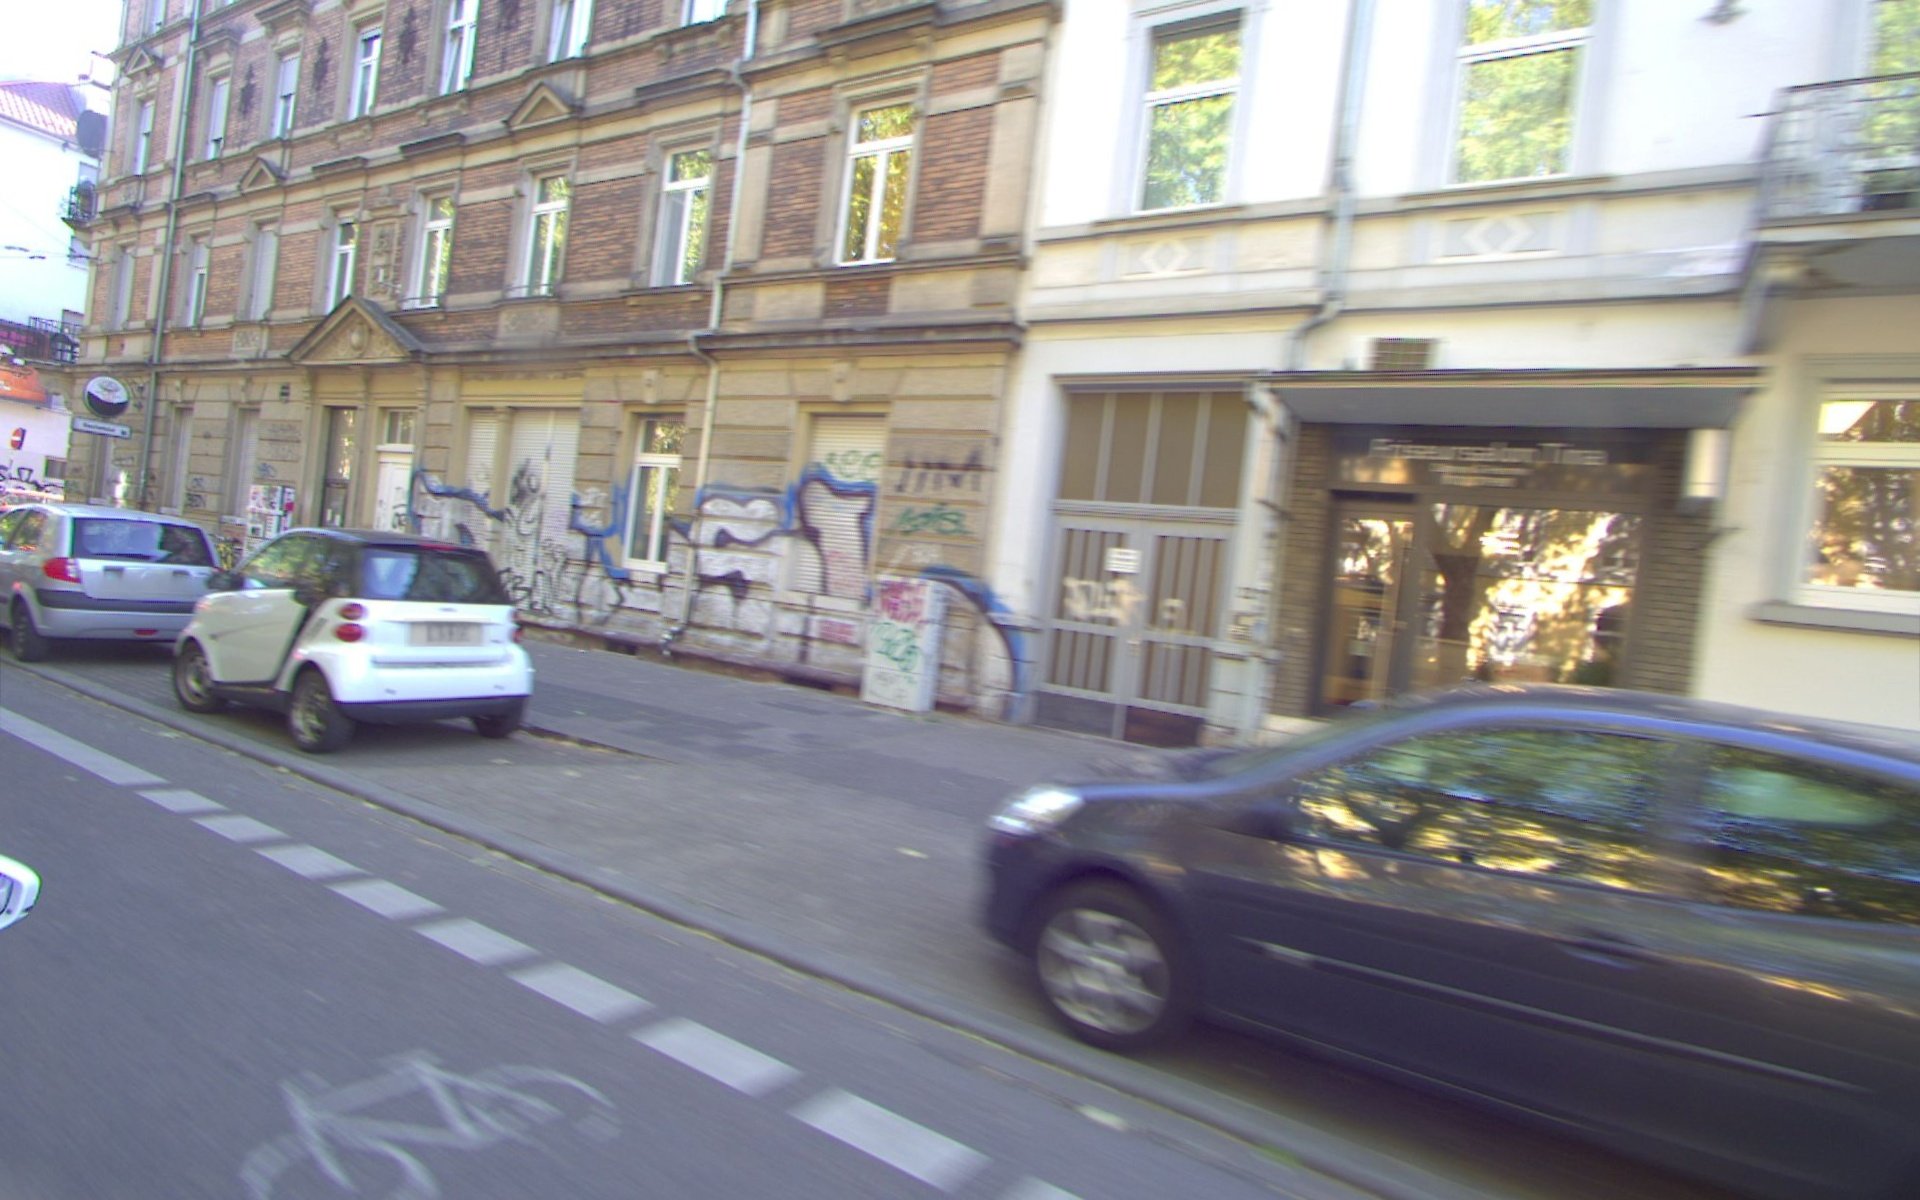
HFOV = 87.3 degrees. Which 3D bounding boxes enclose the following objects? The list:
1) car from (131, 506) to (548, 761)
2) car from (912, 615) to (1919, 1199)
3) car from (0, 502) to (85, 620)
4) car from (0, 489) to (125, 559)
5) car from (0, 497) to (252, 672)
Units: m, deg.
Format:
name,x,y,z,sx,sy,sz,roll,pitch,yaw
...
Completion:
name,x,y,z,sx,sy,sz,roll,pitch,yaw
car,-5.009,0.173,8.085,2.989,1.538,1.568,7,3,30
car,1.881,1.005,3.729,3.701,1.503,1.711,7,3,31
car,-13.224,-0.624,13.070,3.869,1.356,1.809,7,3,33
car,-30.463,-2.574,32.889,1.845,1.819,4.386,7,-1,31
car,-9.242,-0.243,10.659,3.639,1.476,1.703,7,3,35
